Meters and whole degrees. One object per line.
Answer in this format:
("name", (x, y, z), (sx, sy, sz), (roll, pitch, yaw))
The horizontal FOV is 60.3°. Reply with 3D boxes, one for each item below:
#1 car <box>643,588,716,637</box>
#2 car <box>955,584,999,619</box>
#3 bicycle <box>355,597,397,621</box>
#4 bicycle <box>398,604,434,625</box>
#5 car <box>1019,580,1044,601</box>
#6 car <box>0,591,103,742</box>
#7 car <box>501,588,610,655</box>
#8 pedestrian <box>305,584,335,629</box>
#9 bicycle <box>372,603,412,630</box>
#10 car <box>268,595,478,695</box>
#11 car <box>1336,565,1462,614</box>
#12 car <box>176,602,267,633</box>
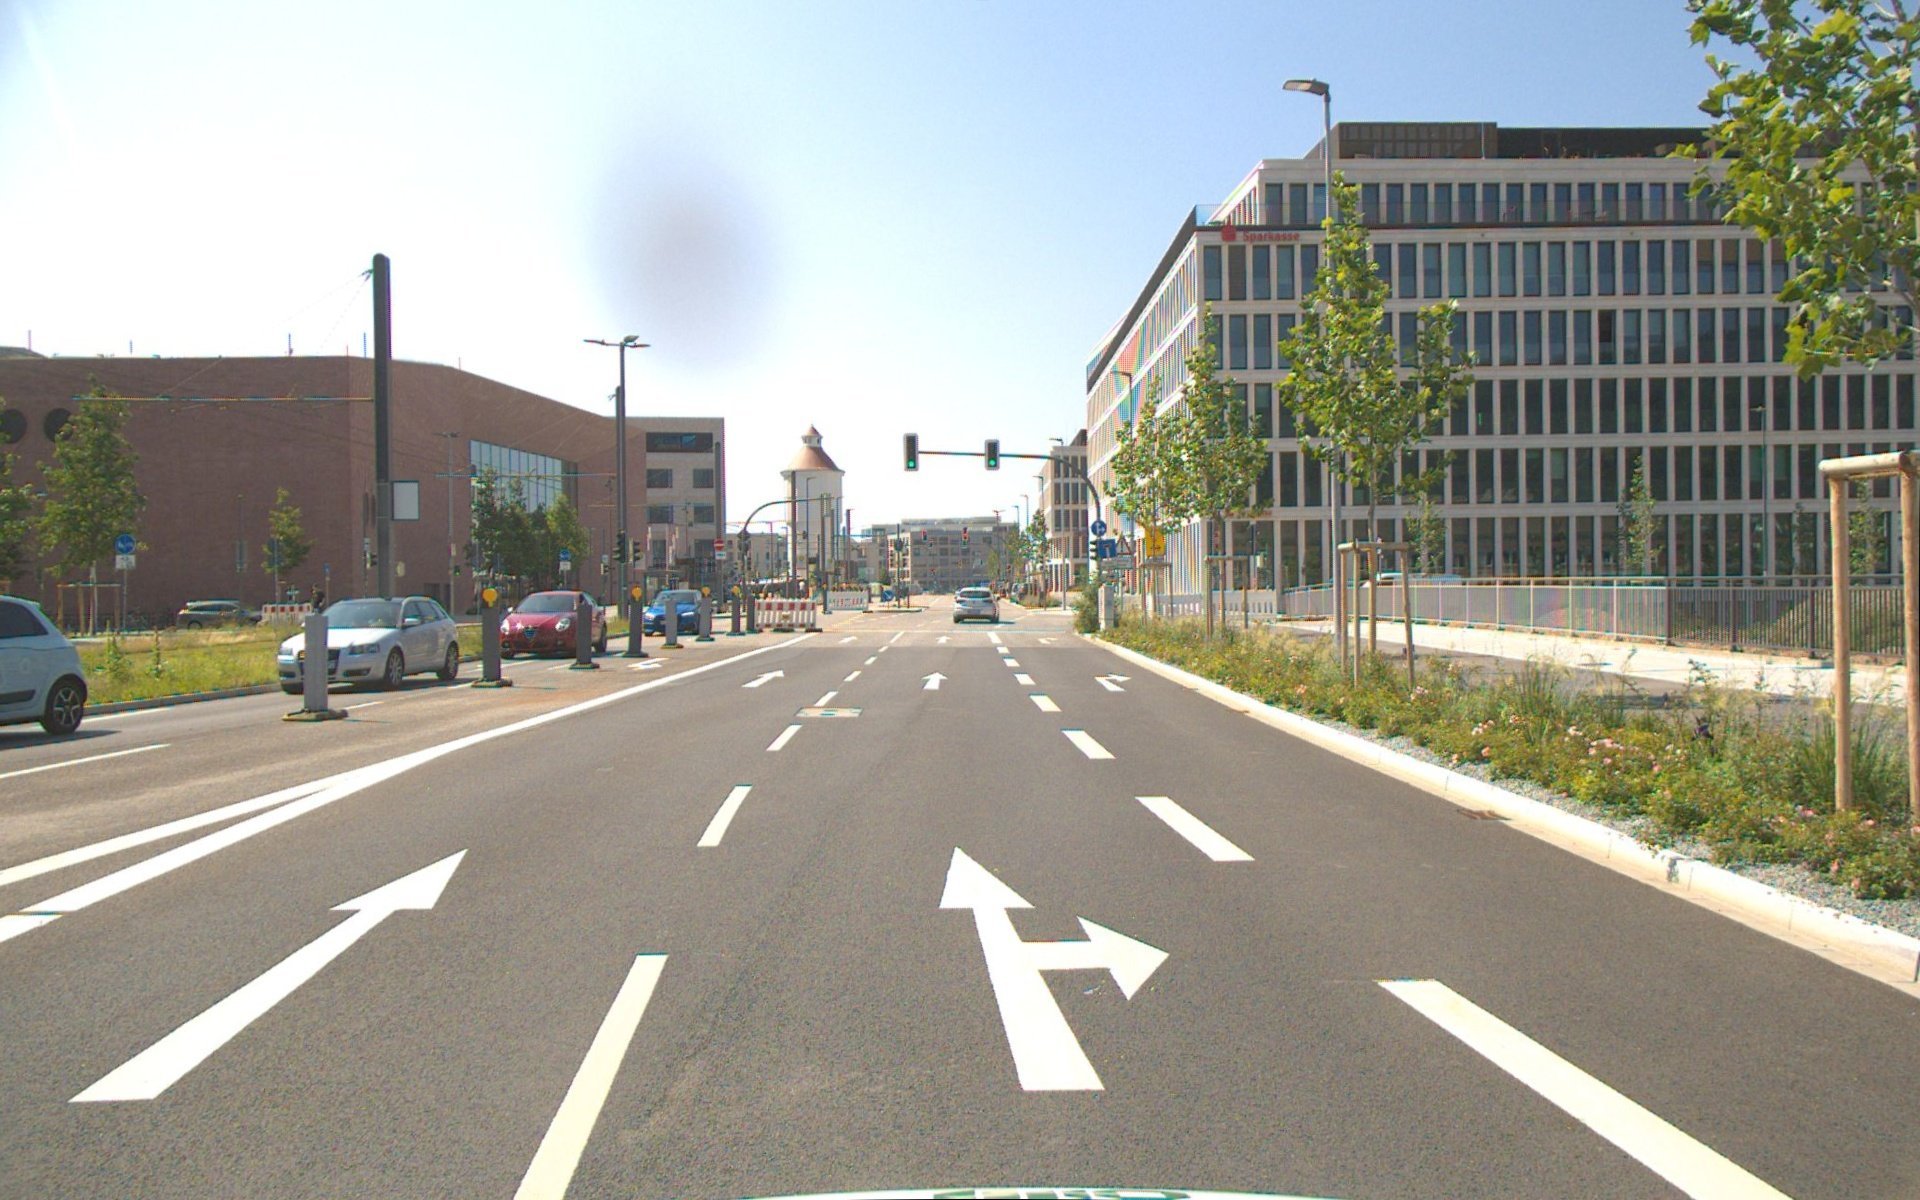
("car", (-9.086, 0.376, 53.826), (1.595, 1.452, 4.290), (-2, 1, 0))
("car", (0.735, 0.060, 69.468), (1.735, 1.419, 3.532), (1, -1, 2))
("bicycle", (-30.887, 0.470, 87.511), (2.014, 1.233, 0.538), (0, 0, -11))
("bicycle", (-32.903, 0.896, 100.024), (2.014, 1.233, 0.538), (-1, 1, -11))
("car", (5.239, -0.713, 120.869), (1.700, 1.500, 3.982), (0, 0, 5))
("car", (-10.687, 0.729, 16.936), (1.546, 1.557, 3.623), (-3, 0, 7))
("car", (-9.295, 0.467, 38.266), (1.548, 1.441, 3.999), (-2, 0, -1))
("pedestrian", (-26.859, 0.258, 69.412), (0.794, 1.879, 1.107), (0, 0, 2))
("bicycle", (-31.601, 0.906, 92.004), (2.014, 1.478, 0.538), (-1, 1, -11))
("car", (-9.367, 0.661, 26.760), (1.547, 1.441, 4.299), (-2, 0, 4))
("car", (22.012, -0.547, 83.017), (5.717, 2.310, 2.147), (1, 1, 0))
("car", (-33.668, 0.787, 75.477), (3.407, 1.393, 1.573), (0, 1, -1))
